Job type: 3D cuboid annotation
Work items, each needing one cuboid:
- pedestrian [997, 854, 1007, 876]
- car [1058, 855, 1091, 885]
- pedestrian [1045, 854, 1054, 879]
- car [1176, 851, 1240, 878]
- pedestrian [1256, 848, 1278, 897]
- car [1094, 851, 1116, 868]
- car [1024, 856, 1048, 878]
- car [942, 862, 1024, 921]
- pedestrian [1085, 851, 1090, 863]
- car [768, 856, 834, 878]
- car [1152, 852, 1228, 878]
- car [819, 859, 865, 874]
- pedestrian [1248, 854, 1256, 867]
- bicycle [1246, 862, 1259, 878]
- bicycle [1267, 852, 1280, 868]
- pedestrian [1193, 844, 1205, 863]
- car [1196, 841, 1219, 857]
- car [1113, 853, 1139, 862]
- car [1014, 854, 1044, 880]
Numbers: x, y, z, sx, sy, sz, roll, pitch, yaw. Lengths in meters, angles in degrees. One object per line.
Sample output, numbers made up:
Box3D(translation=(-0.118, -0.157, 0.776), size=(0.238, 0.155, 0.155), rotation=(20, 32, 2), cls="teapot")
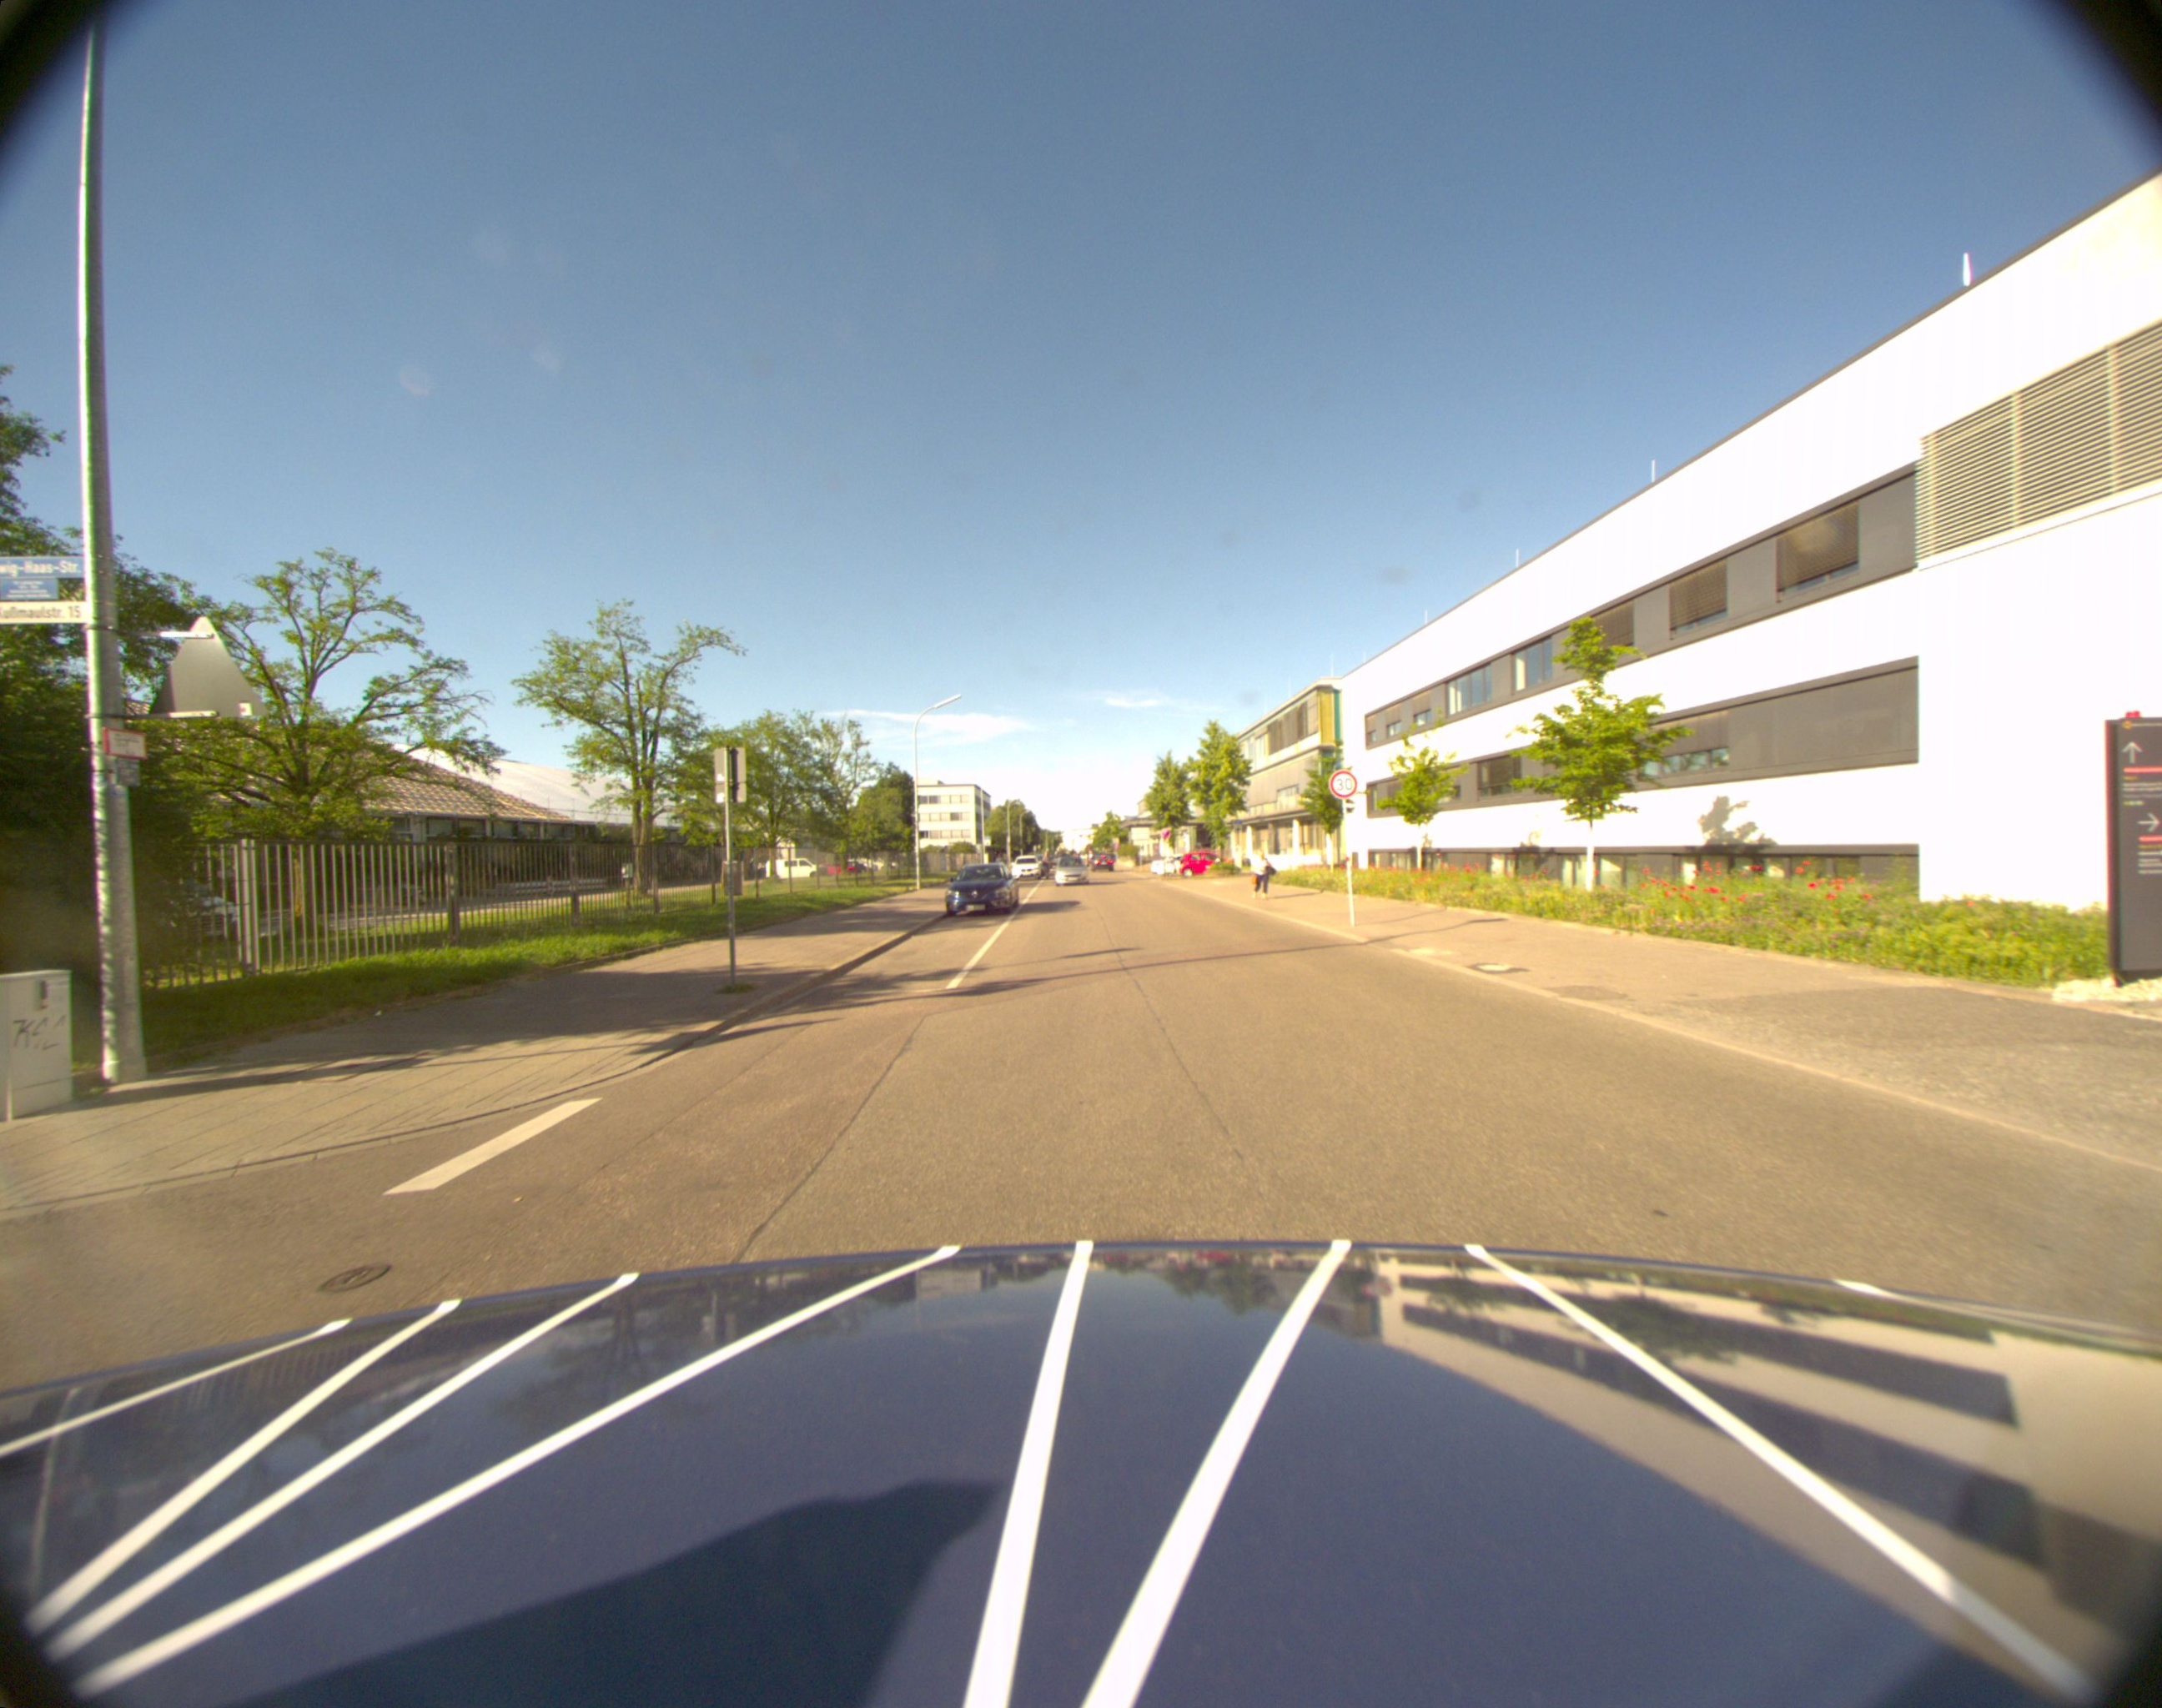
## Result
Box3D(translation=(-5.902, 0.843, 56.719), size=(0.540, 1.602, 0.683), rotation=(-3, 1, 0), cls="pedestrian")
Box3D(translation=(-0.328, 0.798, 39.373), size=(1.551, 1.389, 3.453), rotation=(-2, 1, 0), cls="car")
Box3D(translation=(-2.193, 0.851, 52.938), size=(0.521, 1.699, 0.523), rotation=(-3, 1, 3), cls="pedestrian")
Box3D(translation=(7.647, 0.638, 45.964), size=(3.642, 1.460, 1.615), rotation=(-3, 0, 6), cls="car")
Box3D(translation=(5.952, 0.586, 24.332), size=(0.539, 1.515, 0.607), rotation=(-2, 1, 0), cls="pedestrian")
Box3D(translation=(2.103, 0.497, 68.278), size=(1.766, 1.433, 4.536), rotation=(-1, 0, -1), cls="car")
Box3D(translation=(-3.501, 0.968, 58.511), size=(1.705, 1.479, 3.979), rotation=(-3, 0, -4), cls="car")
Box3D(translation=(-2.789, 1.020, 22.534), size=(1.822, 1.444, 4.213), rotation=(-3, 0, 0), cls="car")
Box3D(translation=(1.013, 0.453, 115.181), size=(0.693, 1.718, 0.775), rotation=(0, 1, -2), cls="pedestrian")
Box3D(translation=(-24.743, 1.165, 67.181), size=(4.980, 1.635, 2.095), rotation=(-3, 1, -4), cls="car")
Box3D(translation=(6.867, 0.694, 48.249), size=(4.522, 1.359, 1.700), rotation=(-3, 0, 2), cls="car")
Box3D(translation=(-24.221, 1.299, 77.102), size=(4.154, 1.245, 1.828), rotation=(-3, 1, -4), cls="car")
Box3D(translation=(15.220, 0.550, 67.660), size=(0.533, 1.166, 0.556), rotation=(-2, 1, 0), cls="pedestrian")
Box3D(translation=(12.464, 1.170, 55.253), size=(0.536, 1.105, 1.861), rotation=(-1, 0, 2), cls="bicycle")
Box3D(translation=(13.369, 0.408, 52.846), size=(0.421, 1.117, 1.763), rotation=(-1, 0, 0), cls="bicycle")
Box3D(translation=(9.679, -0.049, 62.435), size=(0.775, 1.540, 0.780), rotation=(-3, 1, -1), cls="pedestrian")
Box3D(translation=(15.312, -0.612, 92.344), size=(1.924, 1.880, 4.710), rotation=(-1, 0, -1), cls="car")
Box3D(translation=(7.538, 0.569, 126.959), size=(4.142, 1.458, 1.753), rotation=(-2, 0, -2), cls="car")
Box3D(translation=(-3.429, 0.848, 50.776), size=(1.818, 1.579, 4.261), rotation=(-3, 0, -3), cls="car")
